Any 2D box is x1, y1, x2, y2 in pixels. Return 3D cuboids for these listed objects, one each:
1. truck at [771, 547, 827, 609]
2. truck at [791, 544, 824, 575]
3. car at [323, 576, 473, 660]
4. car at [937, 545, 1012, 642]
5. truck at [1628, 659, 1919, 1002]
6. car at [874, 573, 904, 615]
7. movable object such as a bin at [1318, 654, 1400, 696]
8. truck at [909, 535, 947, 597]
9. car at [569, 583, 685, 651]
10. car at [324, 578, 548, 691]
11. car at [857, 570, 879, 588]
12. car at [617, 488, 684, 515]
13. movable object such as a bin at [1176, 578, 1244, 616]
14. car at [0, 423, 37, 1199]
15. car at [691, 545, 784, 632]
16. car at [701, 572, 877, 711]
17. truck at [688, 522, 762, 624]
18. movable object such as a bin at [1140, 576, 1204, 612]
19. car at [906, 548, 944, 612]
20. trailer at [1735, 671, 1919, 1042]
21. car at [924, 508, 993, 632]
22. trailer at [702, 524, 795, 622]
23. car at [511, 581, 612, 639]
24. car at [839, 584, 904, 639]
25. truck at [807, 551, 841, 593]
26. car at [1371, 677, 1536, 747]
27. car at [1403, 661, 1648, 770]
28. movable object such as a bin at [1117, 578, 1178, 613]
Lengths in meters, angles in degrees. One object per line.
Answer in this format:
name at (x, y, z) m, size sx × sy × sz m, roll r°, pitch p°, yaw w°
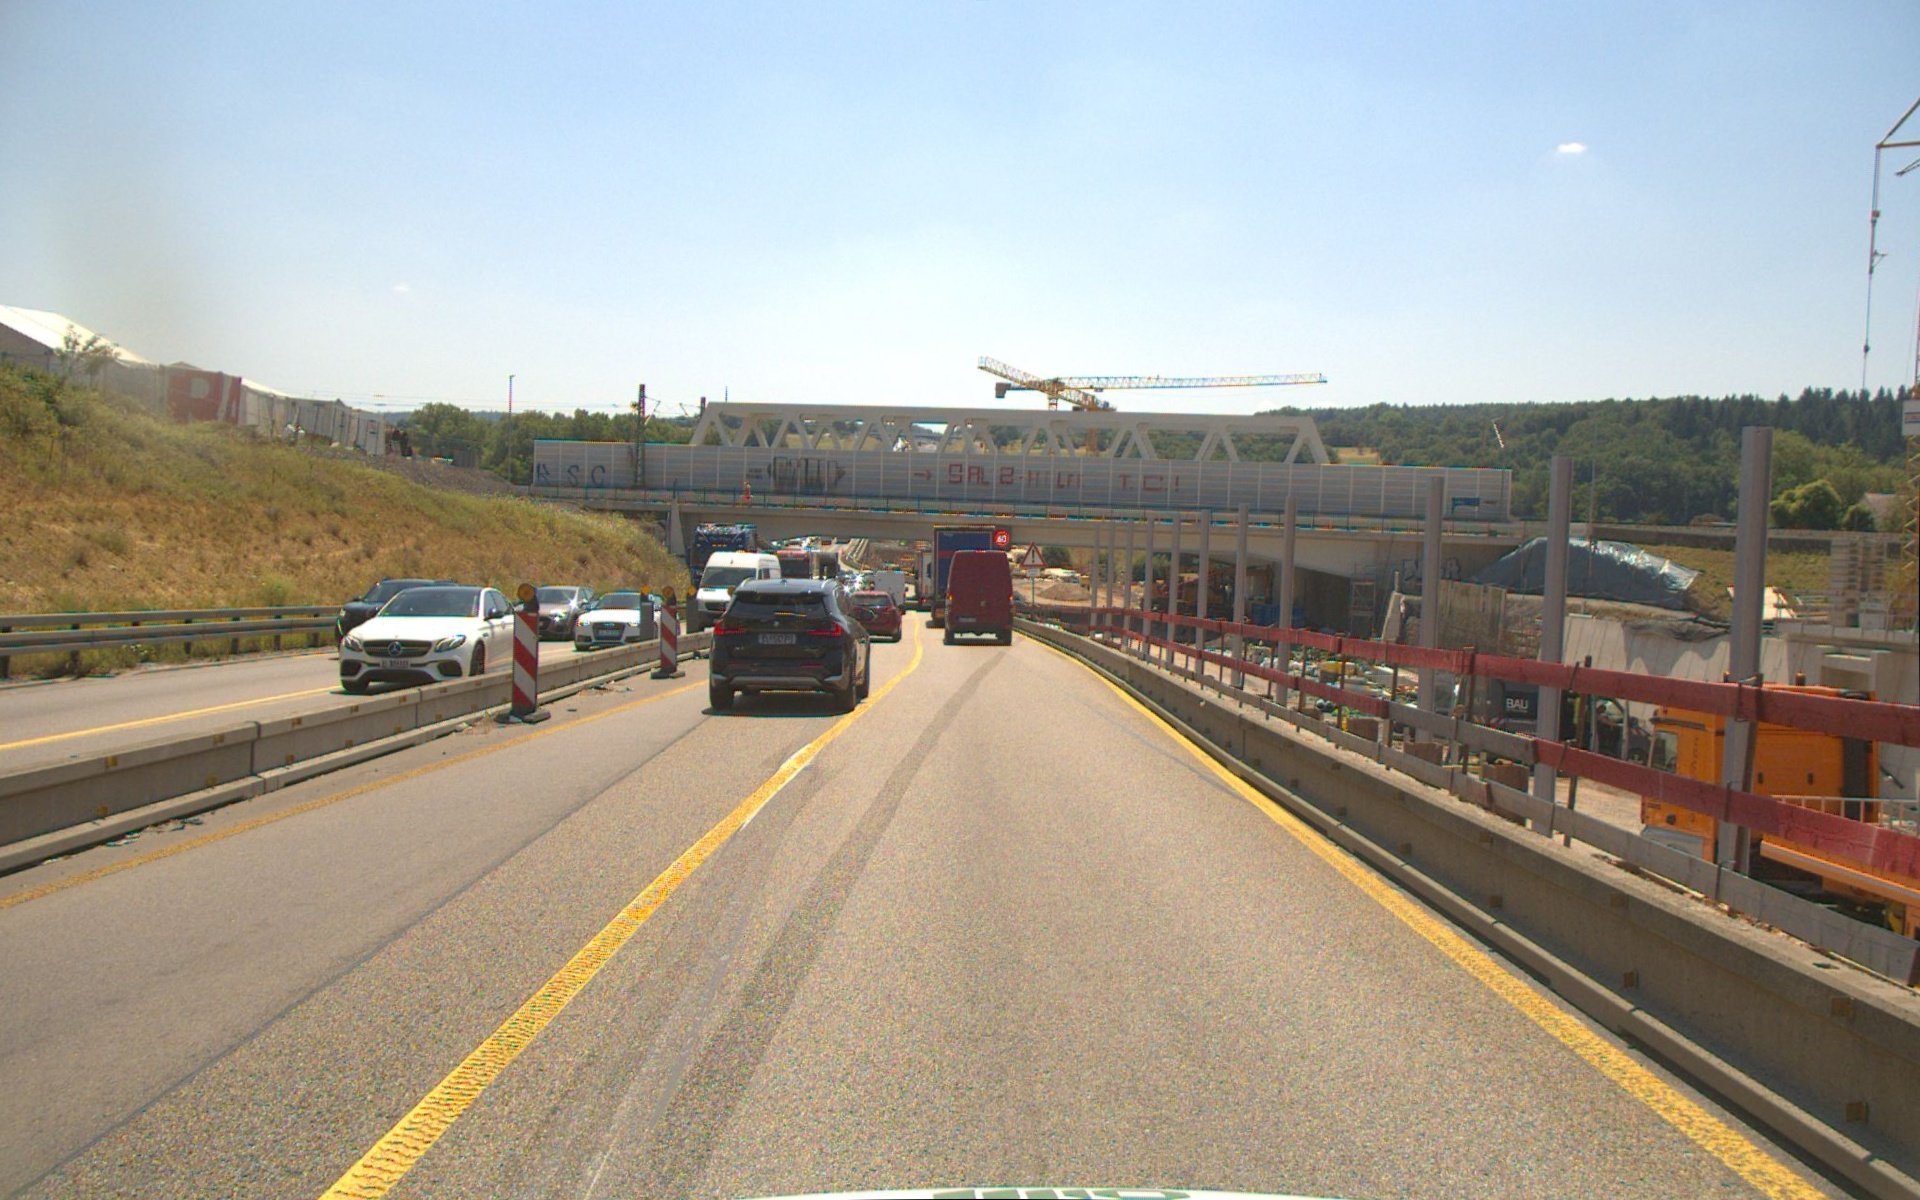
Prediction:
truck at (-10.871, -1.508, 112.523) m, size 2.777 × 3.919 × 12.909 m, roll 1°, pitch 1°, yaw -1°
truck at (-20.760, -5.431, 224.419) m, size 2.786 × 3.919 × 12.870 m, roll 1°, pitch 1°, yaw -13°
car at (-11.246, 0.323, 33.364) m, size 1.659 × 1.558 × 4.000 m, roll 1°, pitch 1°, yaw -1°
car at (0.389, -0.225, 49.322) m, size 1.949 × 2.737 × 4.621 m, roll 0°, pitch 1°, yaw -3°
truck at (12.113, 2.985, 23.494) m, size 2.702 × 3.954 × 5.880 m, roll 1°, pitch 1°, yaw -1°
car at (-4.282, -0.375, 99.789) m, size 1.740 × 2.483 × 4.204 m, roll 0°, pitch 1°, yaw -3°
movable object such as a bin at (17.029, 3.188, 70.571) m, size 3.042 × 1.590 × 1.549 m, roll 2°, pitch 1°, yaw 33°
truck at (-3.041, -3.095, 153.431) m, size 2.779 × 5.492 × 12.902 m, roll 1°, pitch 1°, yaw -4°
car at (-7.944, 0.362, 39.840) m, size 1.763 × 1.472 × 4.637 m, roll 1°, pitch 1°, yaw 1°
car at (-7.753, 0.442, 24.994) m, size 1.922 × 1.489 × 4.939 m, roll 1°, pitch 1°, yaw -2°
car at (-10.733, -2.489, 192.708) m, size 1.959 × 2.049 × 3.987 m, roll 1°, pitch 1°, yaw -13°
car at (-22.815, -7.287, 122.040) m, size 4.456 × 1.814 × 1.962 m, roll 1°, pitch 1°, yaw 11°
movable object such as a bin at (19.631, -0.261, 129.846) m, size 5.039 × 2.856 × 2.143 m, roll 1°, pitch 0°, yaw 3°
car at (-2.706, 0.579, 0.998) m, size 1.740 × 1.748 × 4.652 m, roll 1°, pitch 2°, yaw -1°
car at (-7.252, -0.384, 54.719) m, size 1.952 × 2.652 × 7.012 m, roll 1°, pitch 1°, yaw 1°
car at (-2.155, 0.465, 21.979) m, size 1.841 × 1.646 × 4.499 m, roll 0°, pitch 1°, yaw 0°
truck at (-9.757, -1.133, 69.022) m, size 2.309 × 4.085 × 4.001 m, roll 1°, pitch 0°, yaw 2°
movable object such as a bin at (17.544, -0.481, 136.840) m, size 5.039 × 2.856 × 2.143 m, roll 1°, pitch 0°, yaw 3°
car at (-2.456, -1.379, 113.545) m, size 2.401 × 4.233 × 6.856 m, roll 0°, pitch 1°, yaw -3°
trailer at (12.274, 3.073, 16.442) m, size 2.702 × 3.954 × 13.046 m, roll 1°, pitch 1°, yaw -1°
car at (-0.176, -1.315, 73.455) m, size 2.568 × 5.120 × 10.391 m, roll 0°, pitch 1°, yaw -3°
trailer at (-9.503, -1.210, 75.527) m, size 2.299 × 4.085 × 11.453 m, roll 1°, pitch 1°, yaw 2°
car at (-10.907, 0.233, 45.521) m, size 1.728 × 1.472 × 4.129 m, roll 1°, pitch 1°, yaw 1°
car at (-2.606, 0.304, 49.230) m, size 1.739 × 1.543 × 4.206 m, roll 0°, pitch 1°, yaw -1°
truck at (-13.441, -2.708, 163.826) m, size 2.778 × 3.919 × 12.906 m, roll 1°, pitch 1°, yaw -3°
car at (15.814, 3.593, 53.146) m, size 4.632 × 1.804 × 2.000 m, roll 3°, pitch 2°, yaw -1°
car at (15.858, 3.231, 46.518) m, size 5.981 × 2.629 × 2.523 m, roll 3°, pitch 2°, yaw -12°
movable object such as a bin at (16.021, -0.403, 141.590) m, size 5.039 × 2.856 × 2.143 m, roll 1°, pitch 0°, yaw 3°
